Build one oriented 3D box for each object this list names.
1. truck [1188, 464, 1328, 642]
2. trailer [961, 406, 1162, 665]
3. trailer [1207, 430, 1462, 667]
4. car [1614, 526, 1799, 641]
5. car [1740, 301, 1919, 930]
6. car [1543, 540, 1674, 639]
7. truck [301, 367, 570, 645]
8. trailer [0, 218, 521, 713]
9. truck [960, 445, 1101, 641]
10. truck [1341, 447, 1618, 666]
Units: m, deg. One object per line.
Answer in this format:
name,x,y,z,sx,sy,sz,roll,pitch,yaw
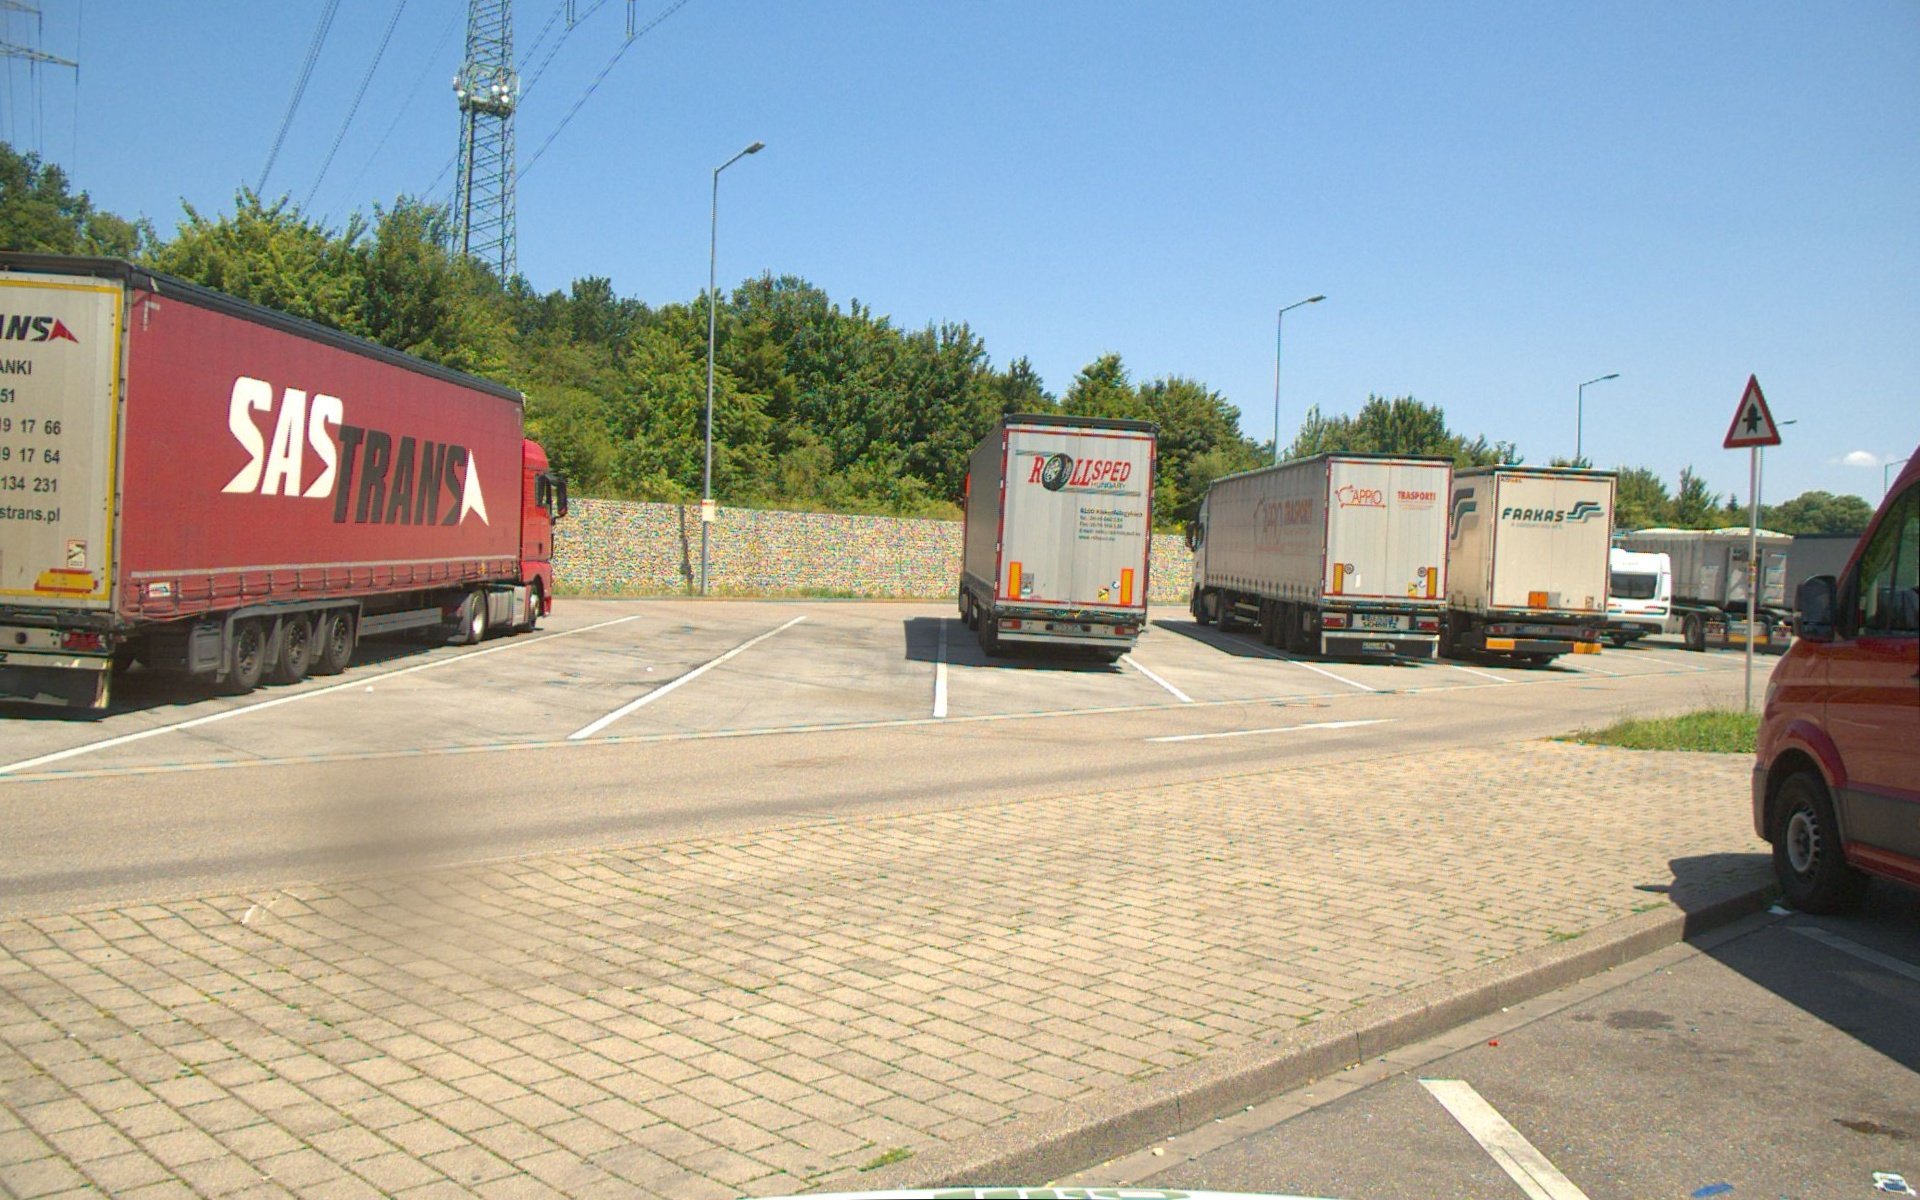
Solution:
truck,8.031,-1.256,45.232,2.607,4.530,5.863,1,1,-1
trailer,1.619,-1.134,31.989,2.838,4.083,11.314,1,1,-2
trailer,8.182,-1.106,38.298,2.627,4.530,12.826,1,1,-1
car,21.707,-0.506,48.506,2.448,3.128,6.350,1,1,-1
car,4.993,0.100,5.570,1.952,2.679,6.385,1,1,3
car,18.241,-0.278,46.748,2.072,2.645,3.999,1,0,-1
truck,-8.720,-1.483,28.252,2.749,4.205,5.893,1,1,-1
trailer,-8.633,-1.299,20.996,2.743,4.293,13.200,1,1,-1
truck,1.486,-1.250,37.730,2.813,4.050,6.029,1,1,-1
truck,11.723,-0.843,38.876,2.534,4.299,11.967,1,0,-1
